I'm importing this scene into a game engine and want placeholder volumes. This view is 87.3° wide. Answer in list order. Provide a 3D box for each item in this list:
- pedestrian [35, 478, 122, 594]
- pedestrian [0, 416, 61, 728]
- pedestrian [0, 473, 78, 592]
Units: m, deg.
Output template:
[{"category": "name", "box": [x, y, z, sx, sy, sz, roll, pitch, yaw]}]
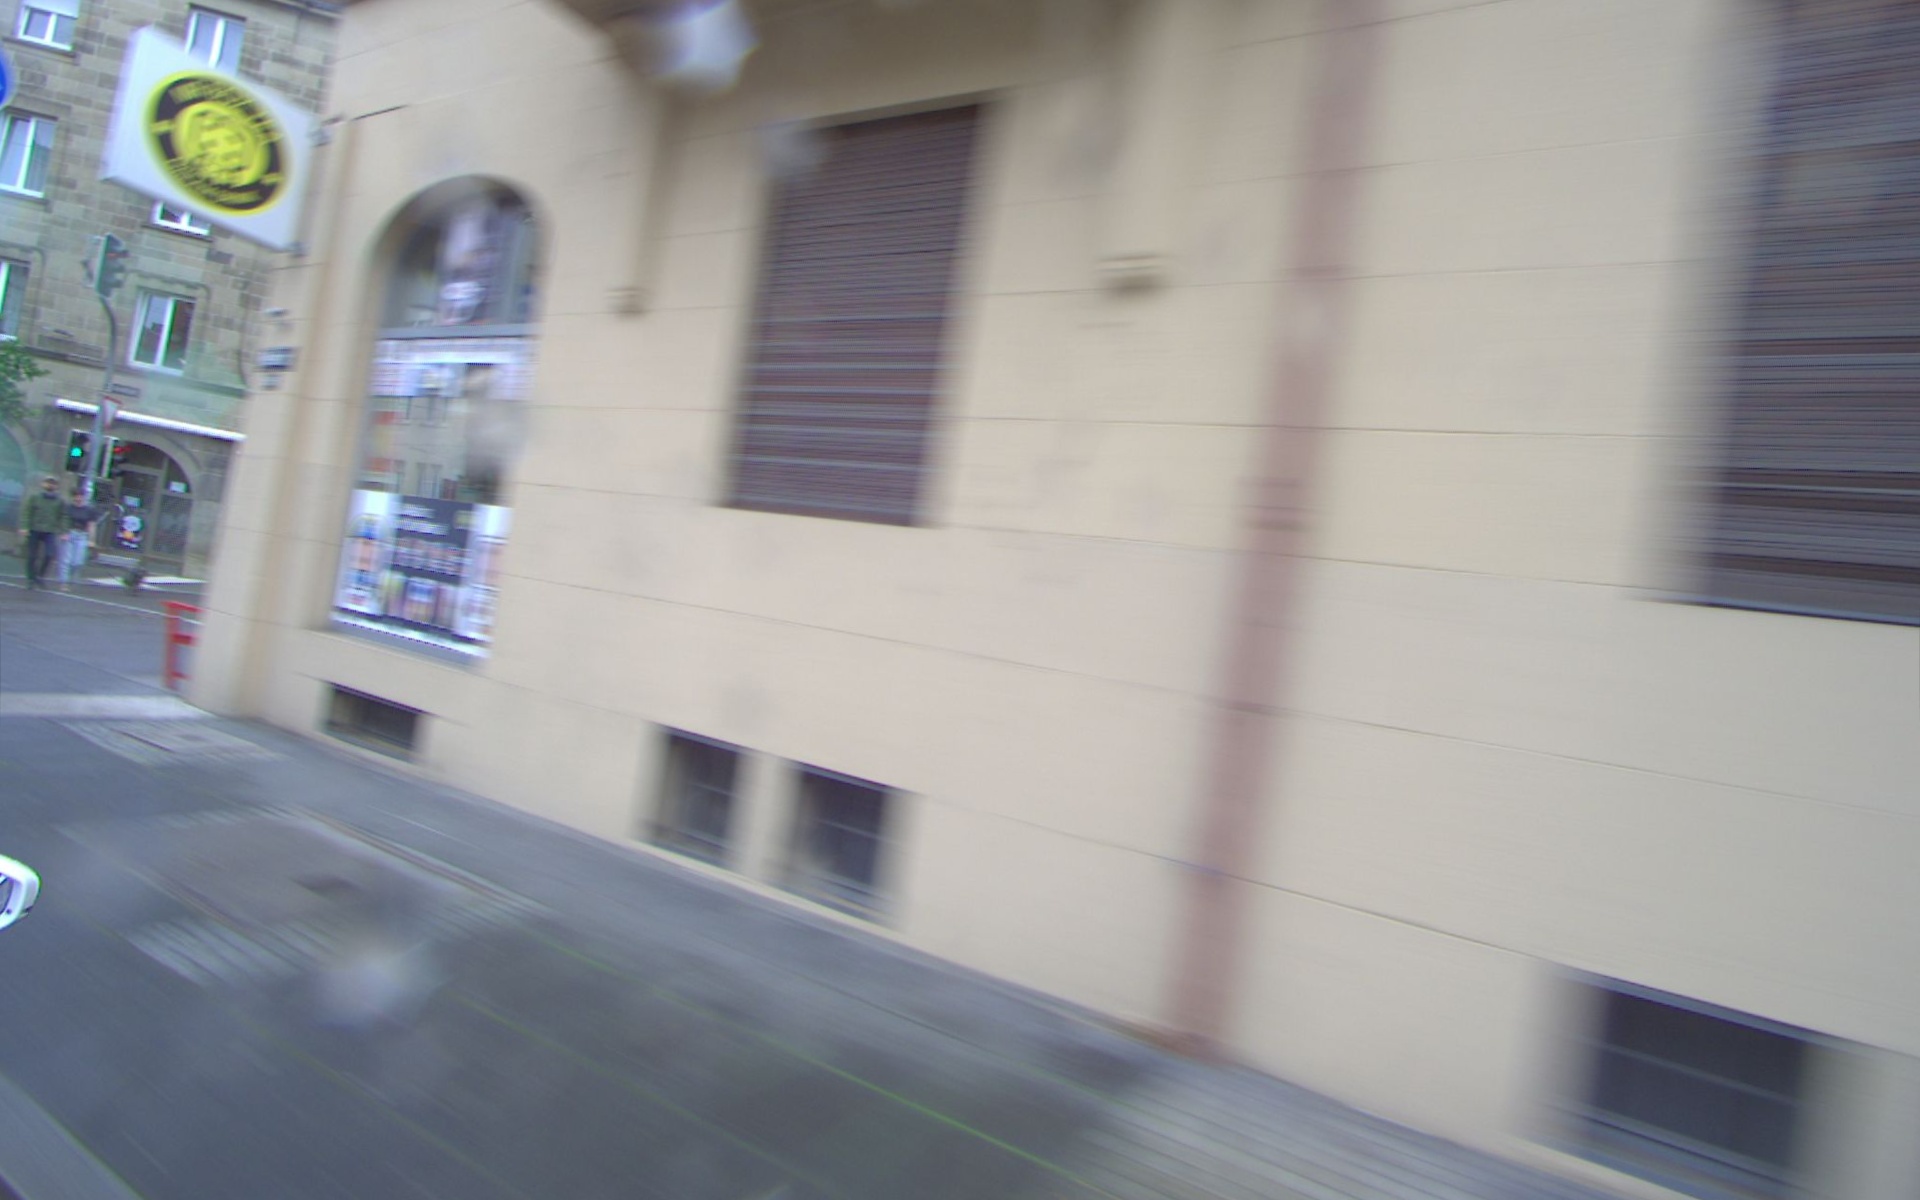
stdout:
[{"category": "pedestrian", "box": [-14.761, -1.071, 16.851, 0.886, 1.810, 0.683, 6, 0, 28]}, {"category": "pedestrian", "box": [-6.232, -0.210, 5.969, 0.886, 1.864, 0.967, 6, 2, 24]}, {"category": "pedestrian", "box": [-14.987, -1.088, 16.335, 0.875, 1.810, 0.595, 6, 0, 28]}]
